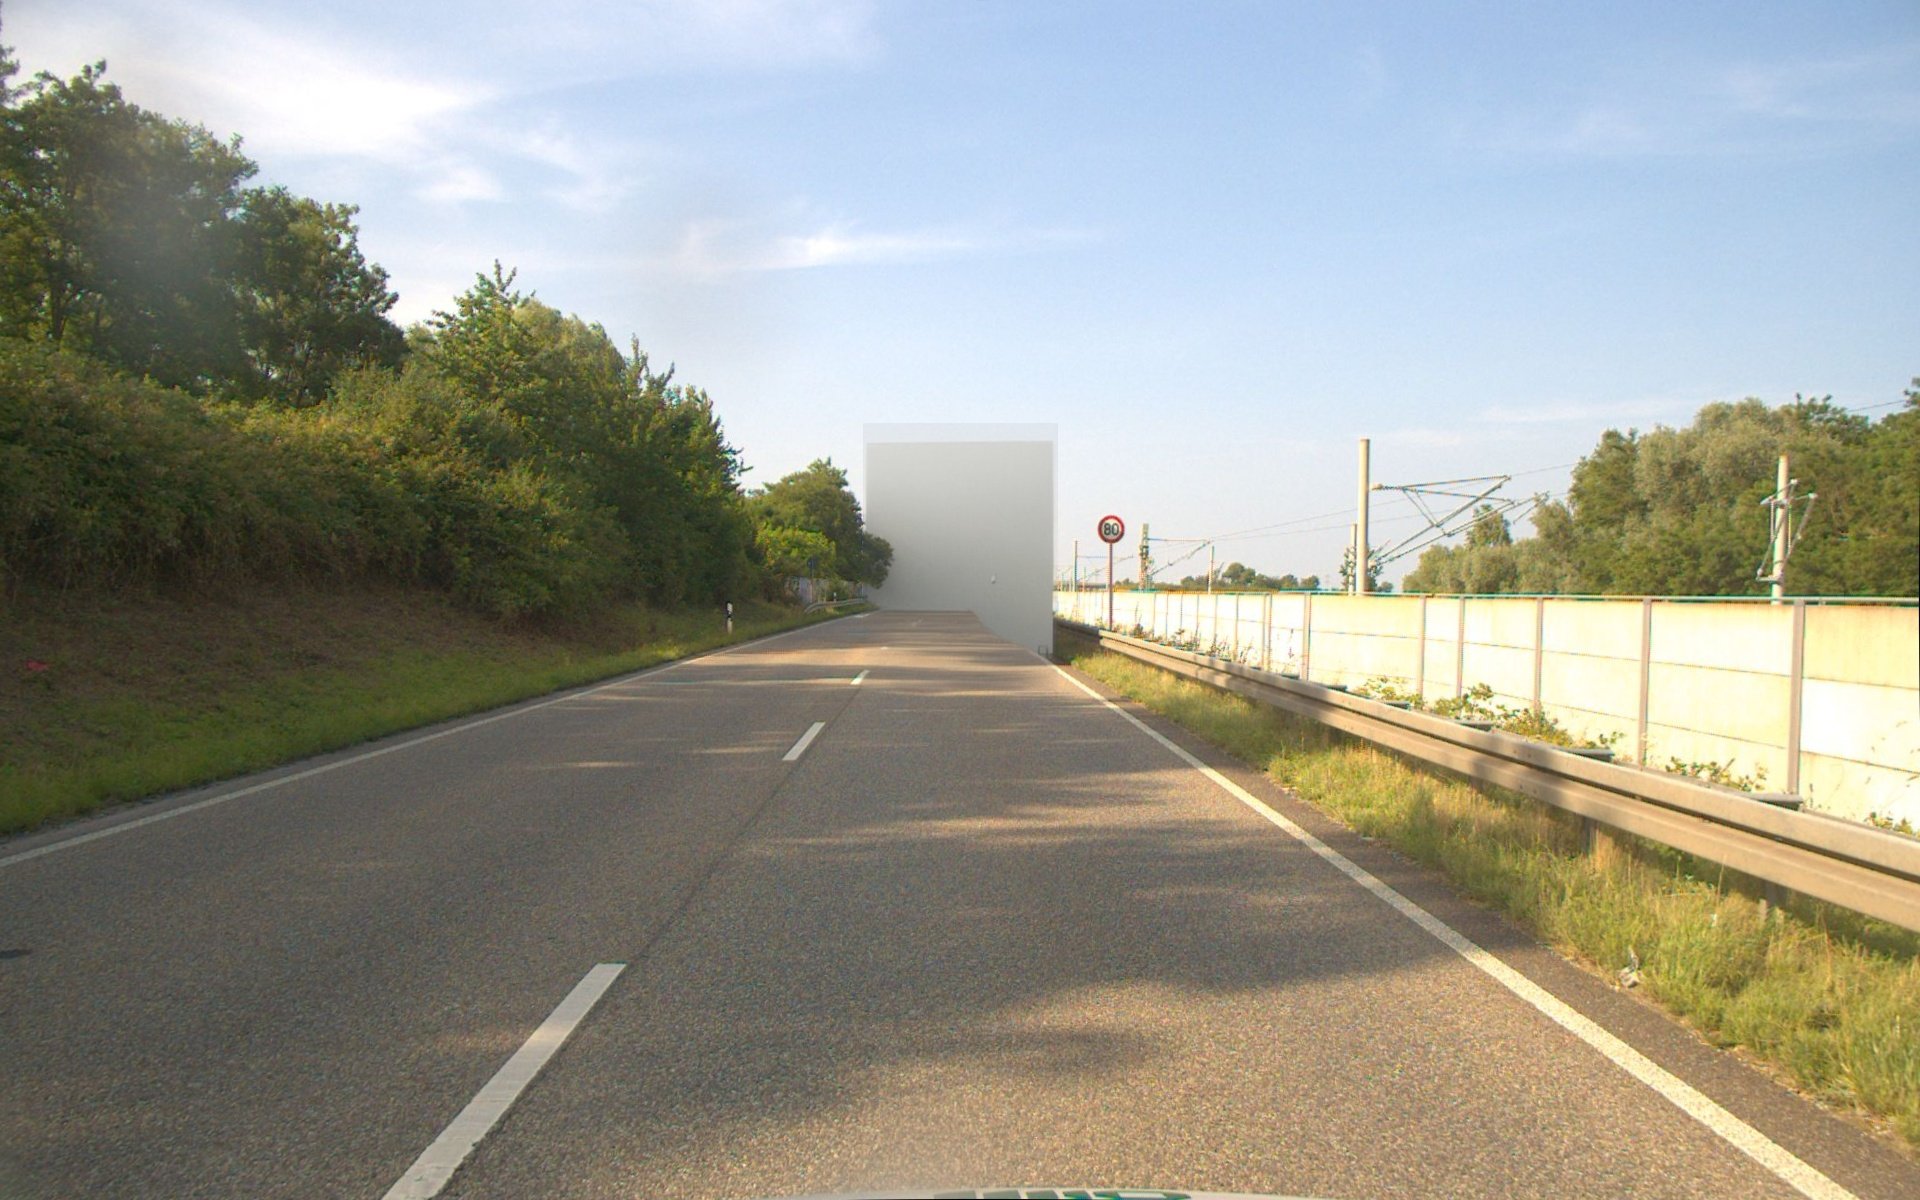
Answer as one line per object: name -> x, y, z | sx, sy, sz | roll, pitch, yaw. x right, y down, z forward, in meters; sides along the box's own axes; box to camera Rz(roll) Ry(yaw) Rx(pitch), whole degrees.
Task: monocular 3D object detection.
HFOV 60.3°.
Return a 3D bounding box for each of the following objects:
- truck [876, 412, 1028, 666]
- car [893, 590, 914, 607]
truck -> -0.356, -1.241, 38.739 | 2.972, 5.006, 11.679 | 1, 0, -2
car -> -4.860, -0.090, 142.737 | 1.684, 1.418, 4.360 | 1, 0, 0
